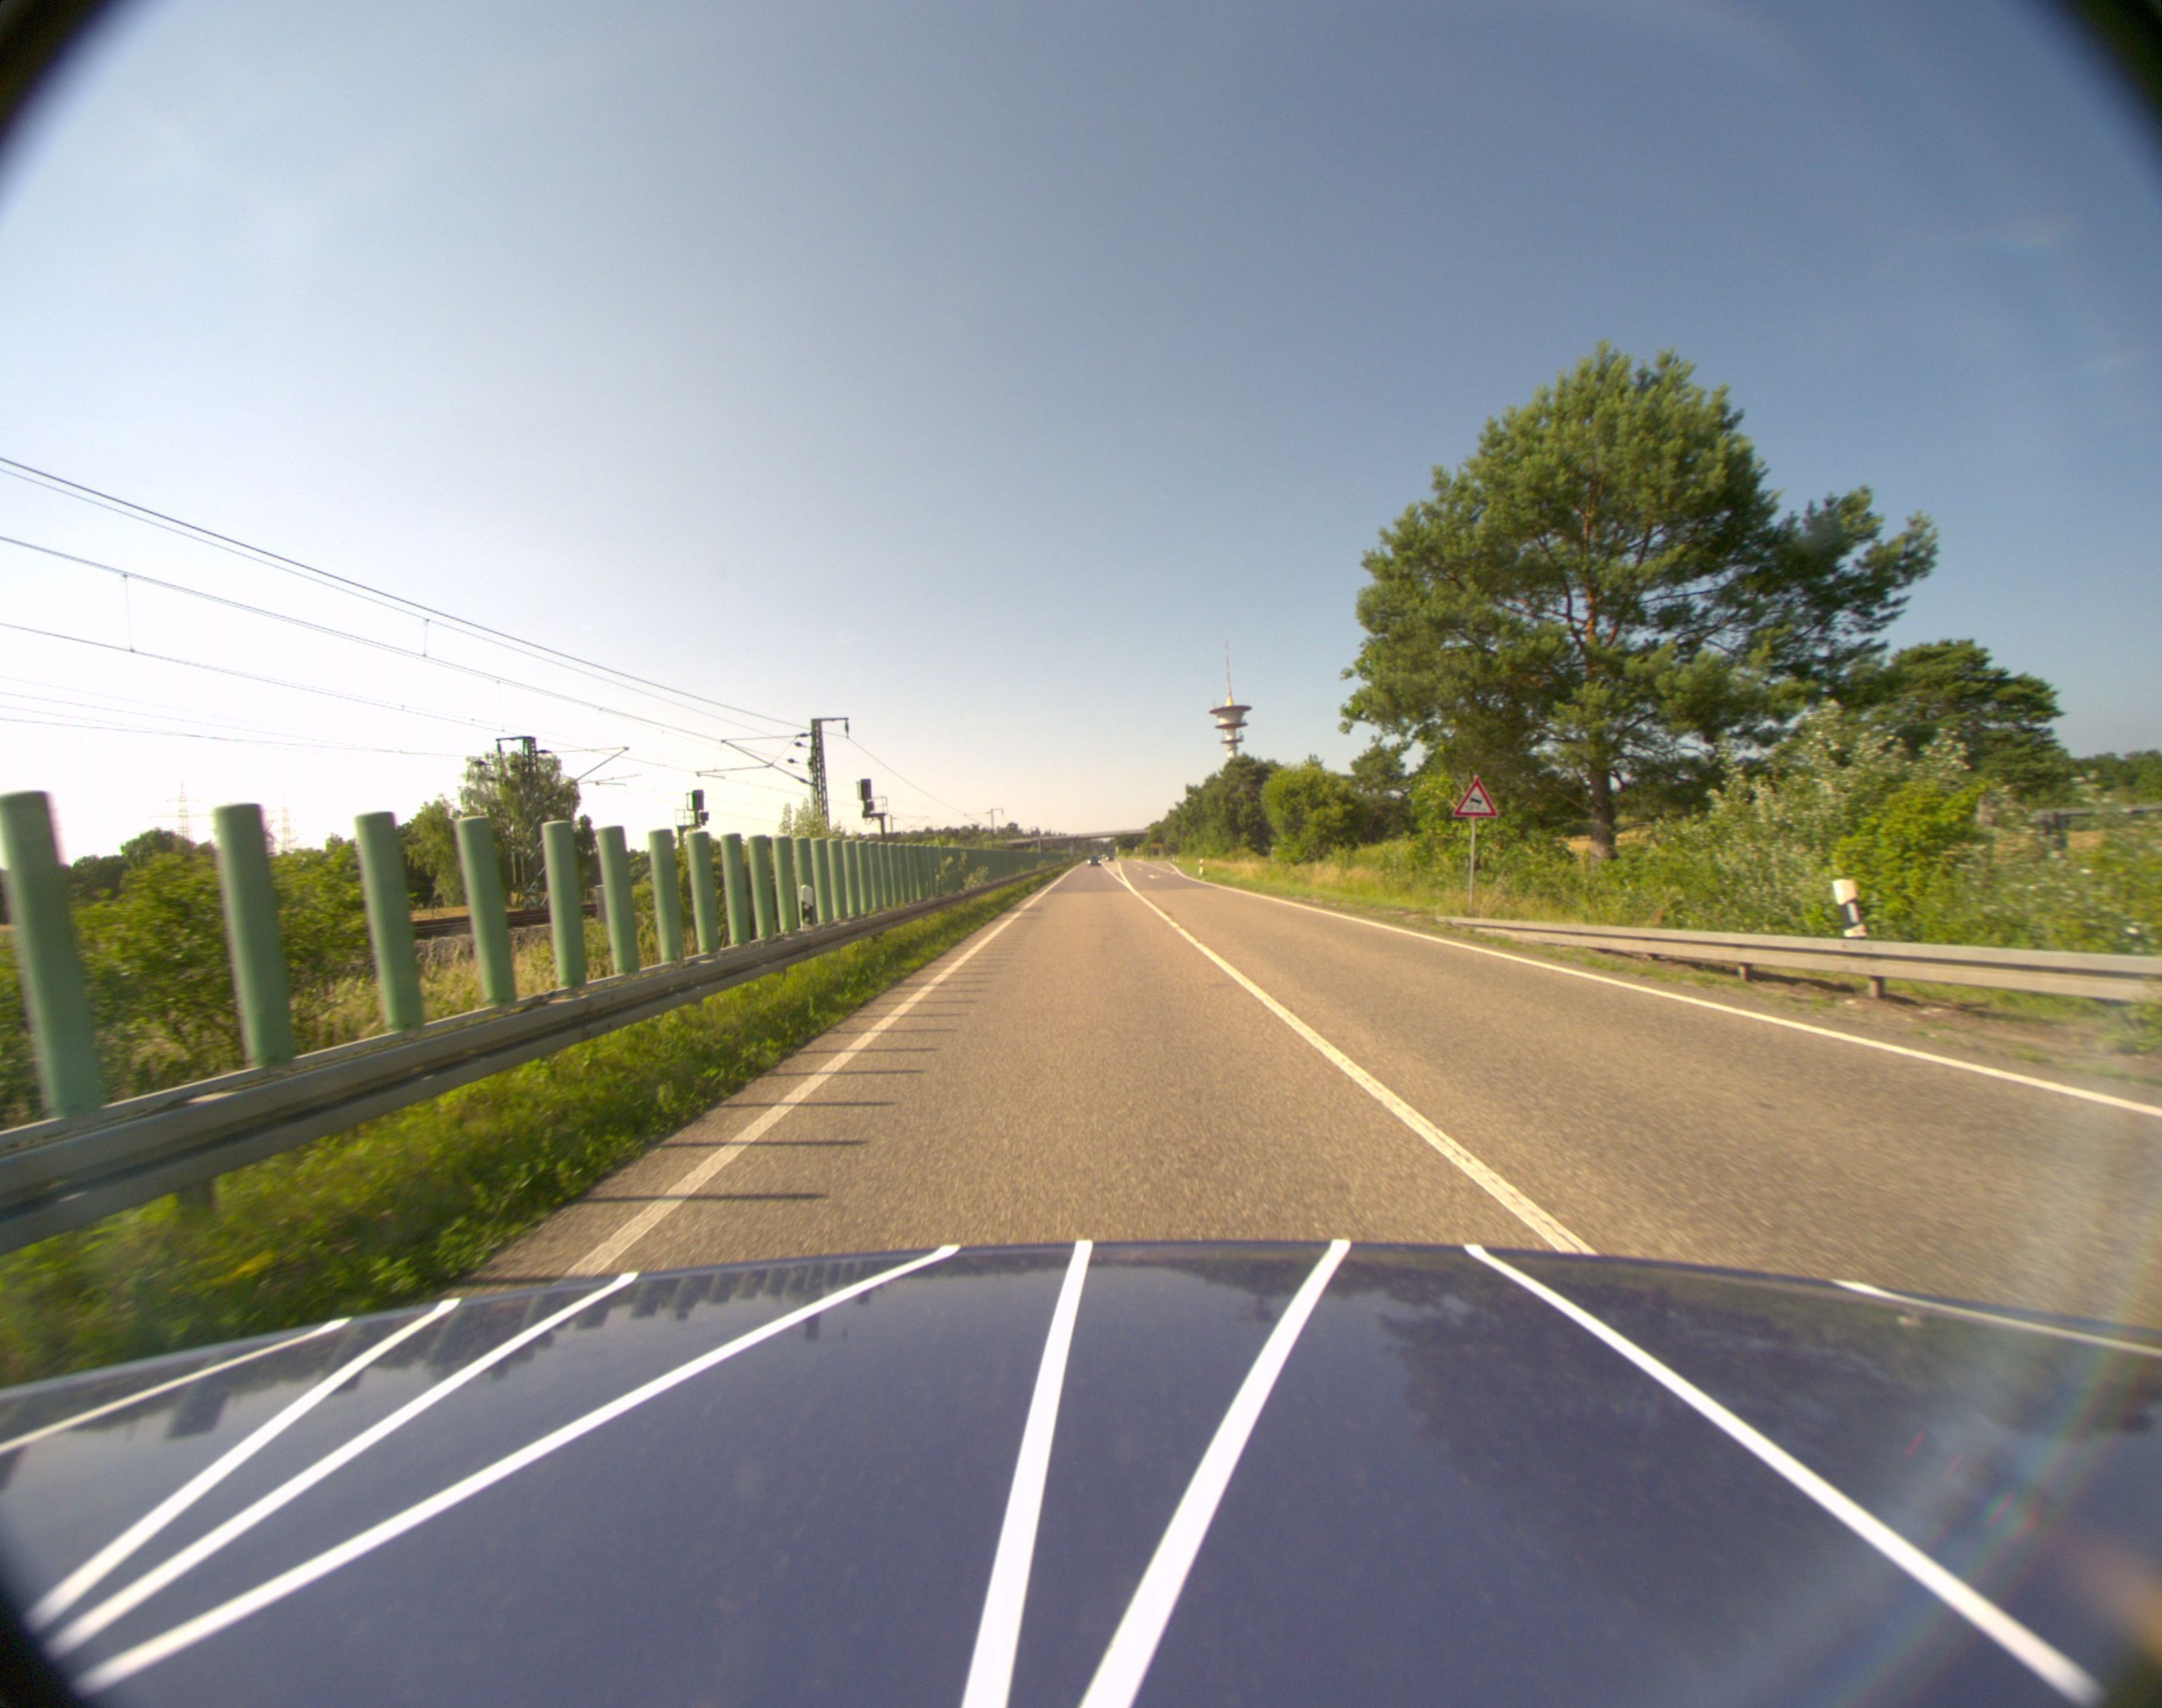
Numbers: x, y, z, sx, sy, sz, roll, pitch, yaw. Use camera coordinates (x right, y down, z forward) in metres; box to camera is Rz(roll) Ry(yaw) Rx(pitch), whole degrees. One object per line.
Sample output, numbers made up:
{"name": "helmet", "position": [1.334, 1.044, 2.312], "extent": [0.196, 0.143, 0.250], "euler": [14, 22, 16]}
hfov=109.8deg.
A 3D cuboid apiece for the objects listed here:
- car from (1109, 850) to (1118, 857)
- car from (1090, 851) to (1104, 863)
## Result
{"name": "car", "position": [7.612, -0.068, 176.535], "extent": [1.998, 1.533, 4.332], "euler": [-1, 0, 3]}
{"name": "car", "position": [2.167, 0.424, 102.035], "extent": [1.868, 1.533, 4.076], "euler": [-2, 0, 2]}
